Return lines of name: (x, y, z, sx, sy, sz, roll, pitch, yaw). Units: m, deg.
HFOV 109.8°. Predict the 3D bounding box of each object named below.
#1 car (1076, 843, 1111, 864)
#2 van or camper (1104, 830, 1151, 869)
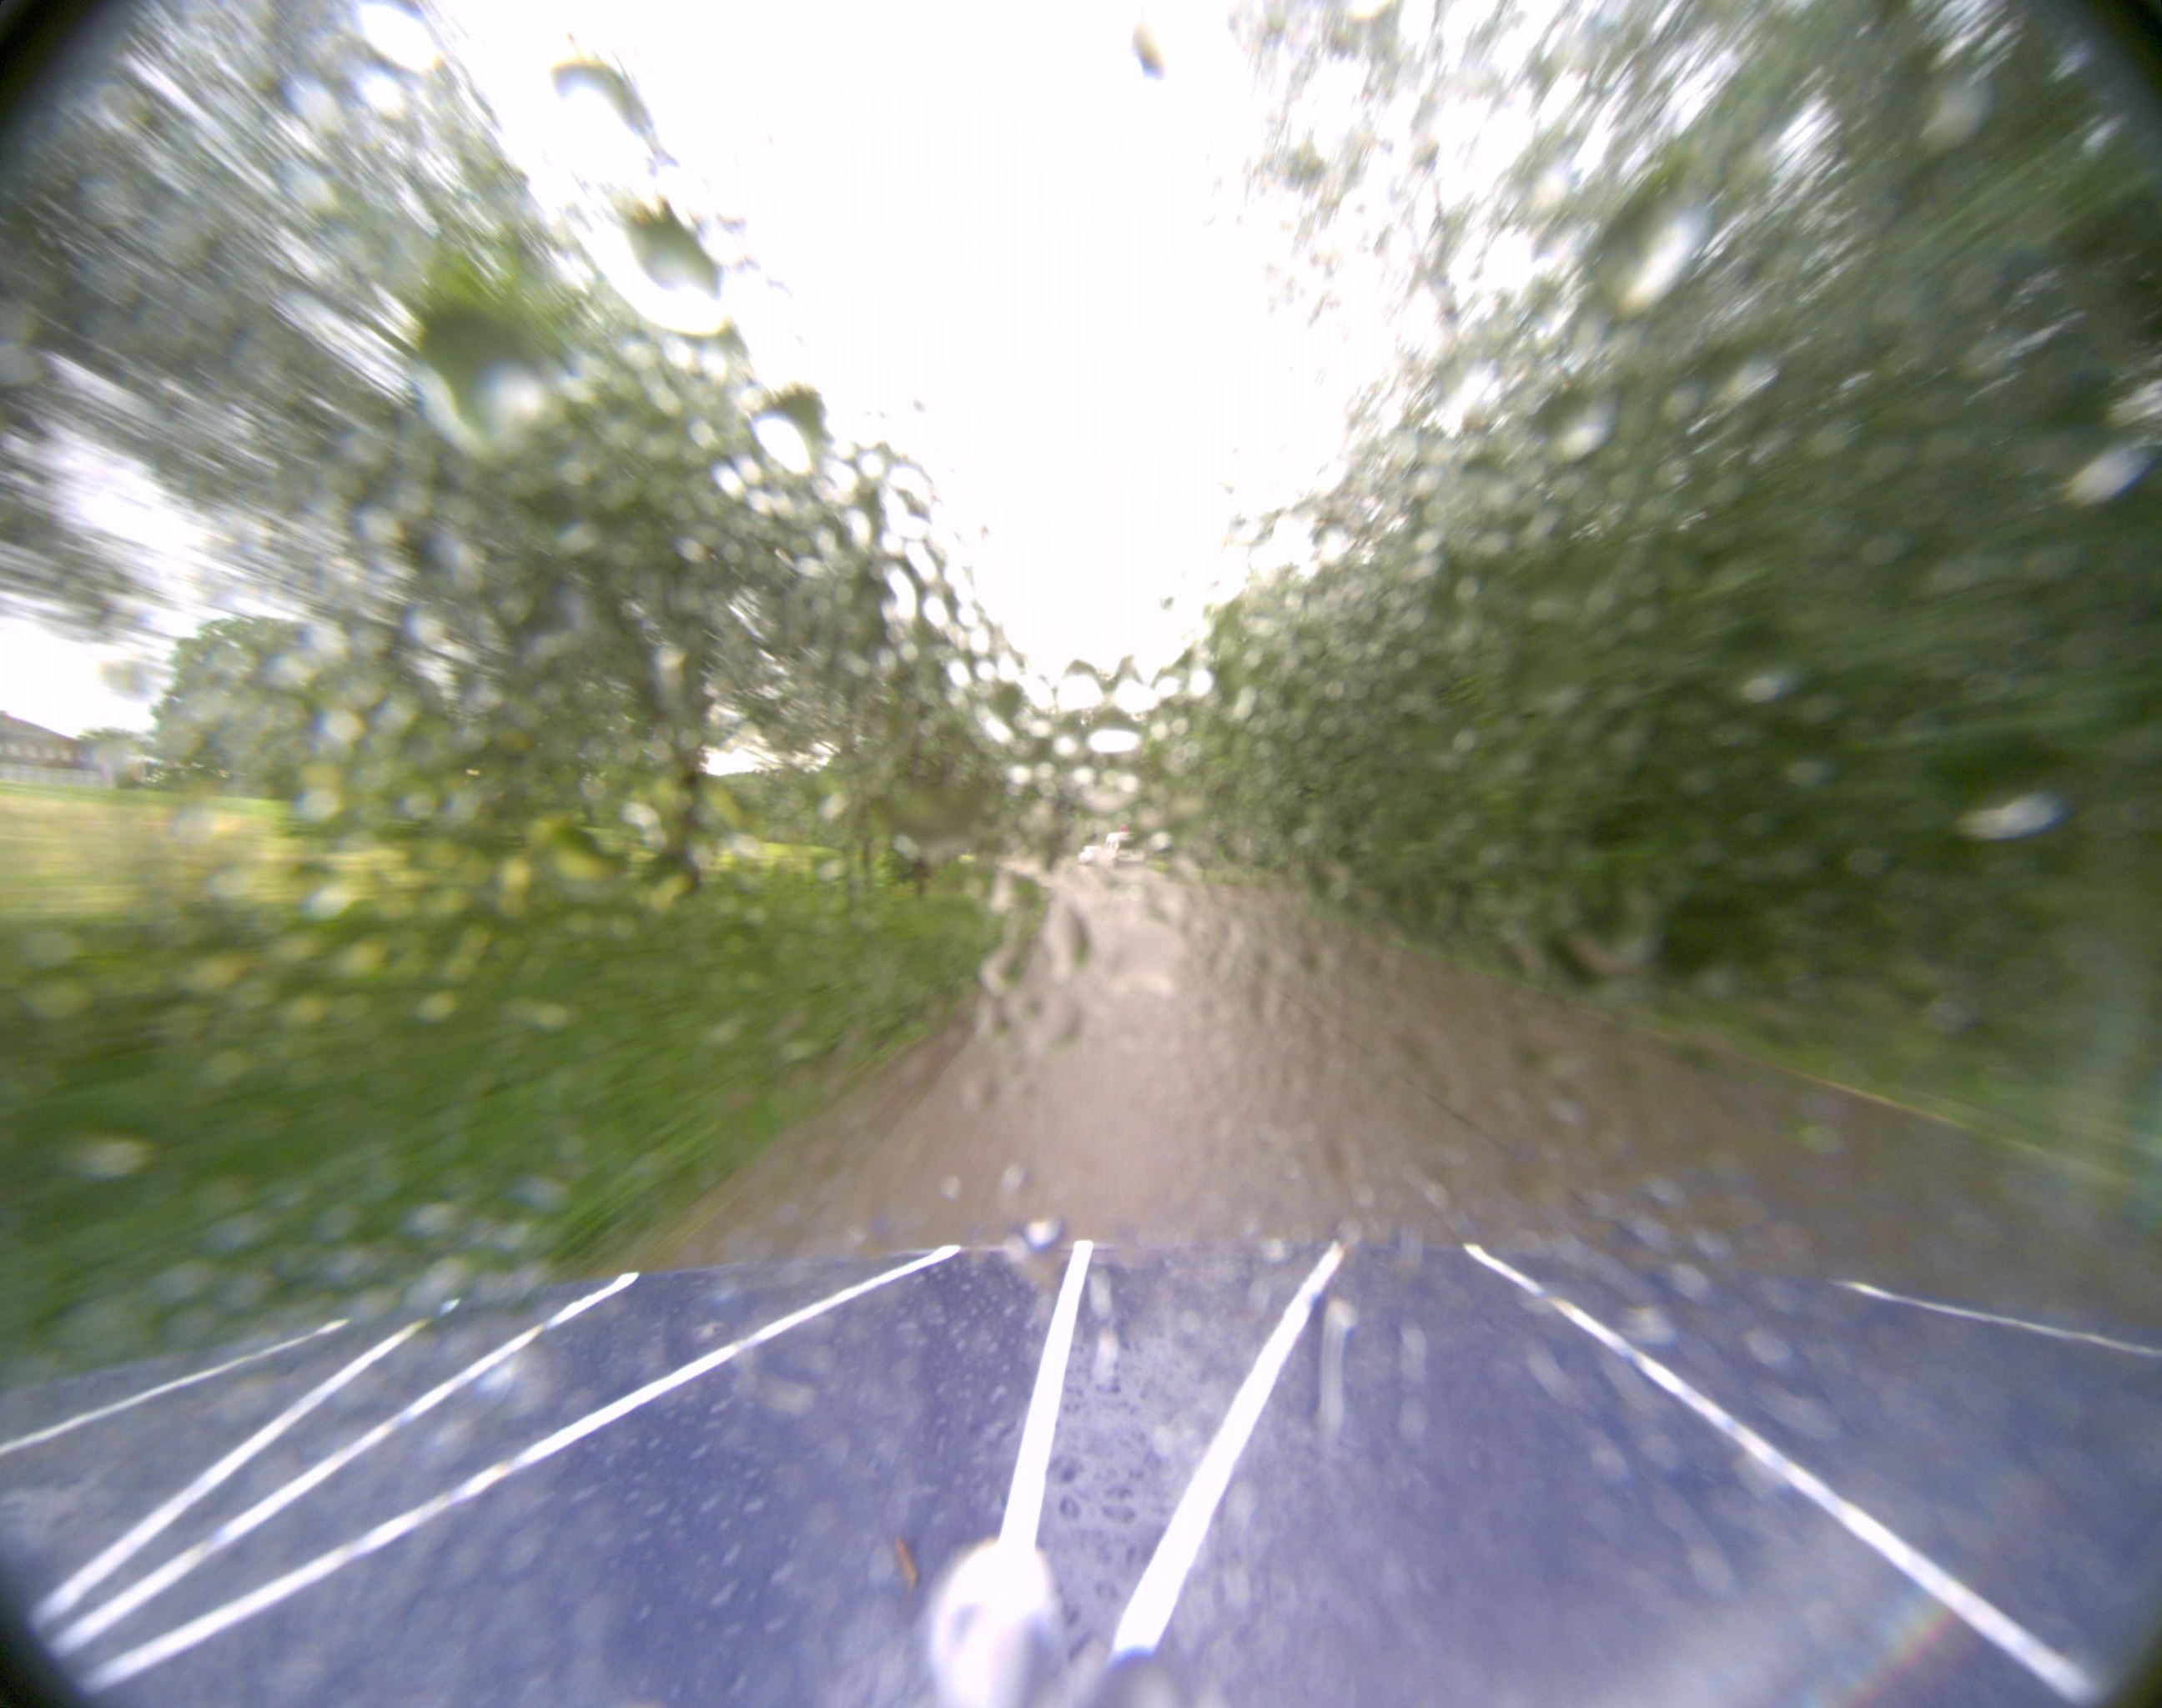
car: (0.941, -0.086, 61.232, 2.105, 1.571, 4.554, 2, 1, -8)
van or camper: (3.145, -0.343, 52.290, 2.203, 2.501, 4.832, 2, 1, -8)
